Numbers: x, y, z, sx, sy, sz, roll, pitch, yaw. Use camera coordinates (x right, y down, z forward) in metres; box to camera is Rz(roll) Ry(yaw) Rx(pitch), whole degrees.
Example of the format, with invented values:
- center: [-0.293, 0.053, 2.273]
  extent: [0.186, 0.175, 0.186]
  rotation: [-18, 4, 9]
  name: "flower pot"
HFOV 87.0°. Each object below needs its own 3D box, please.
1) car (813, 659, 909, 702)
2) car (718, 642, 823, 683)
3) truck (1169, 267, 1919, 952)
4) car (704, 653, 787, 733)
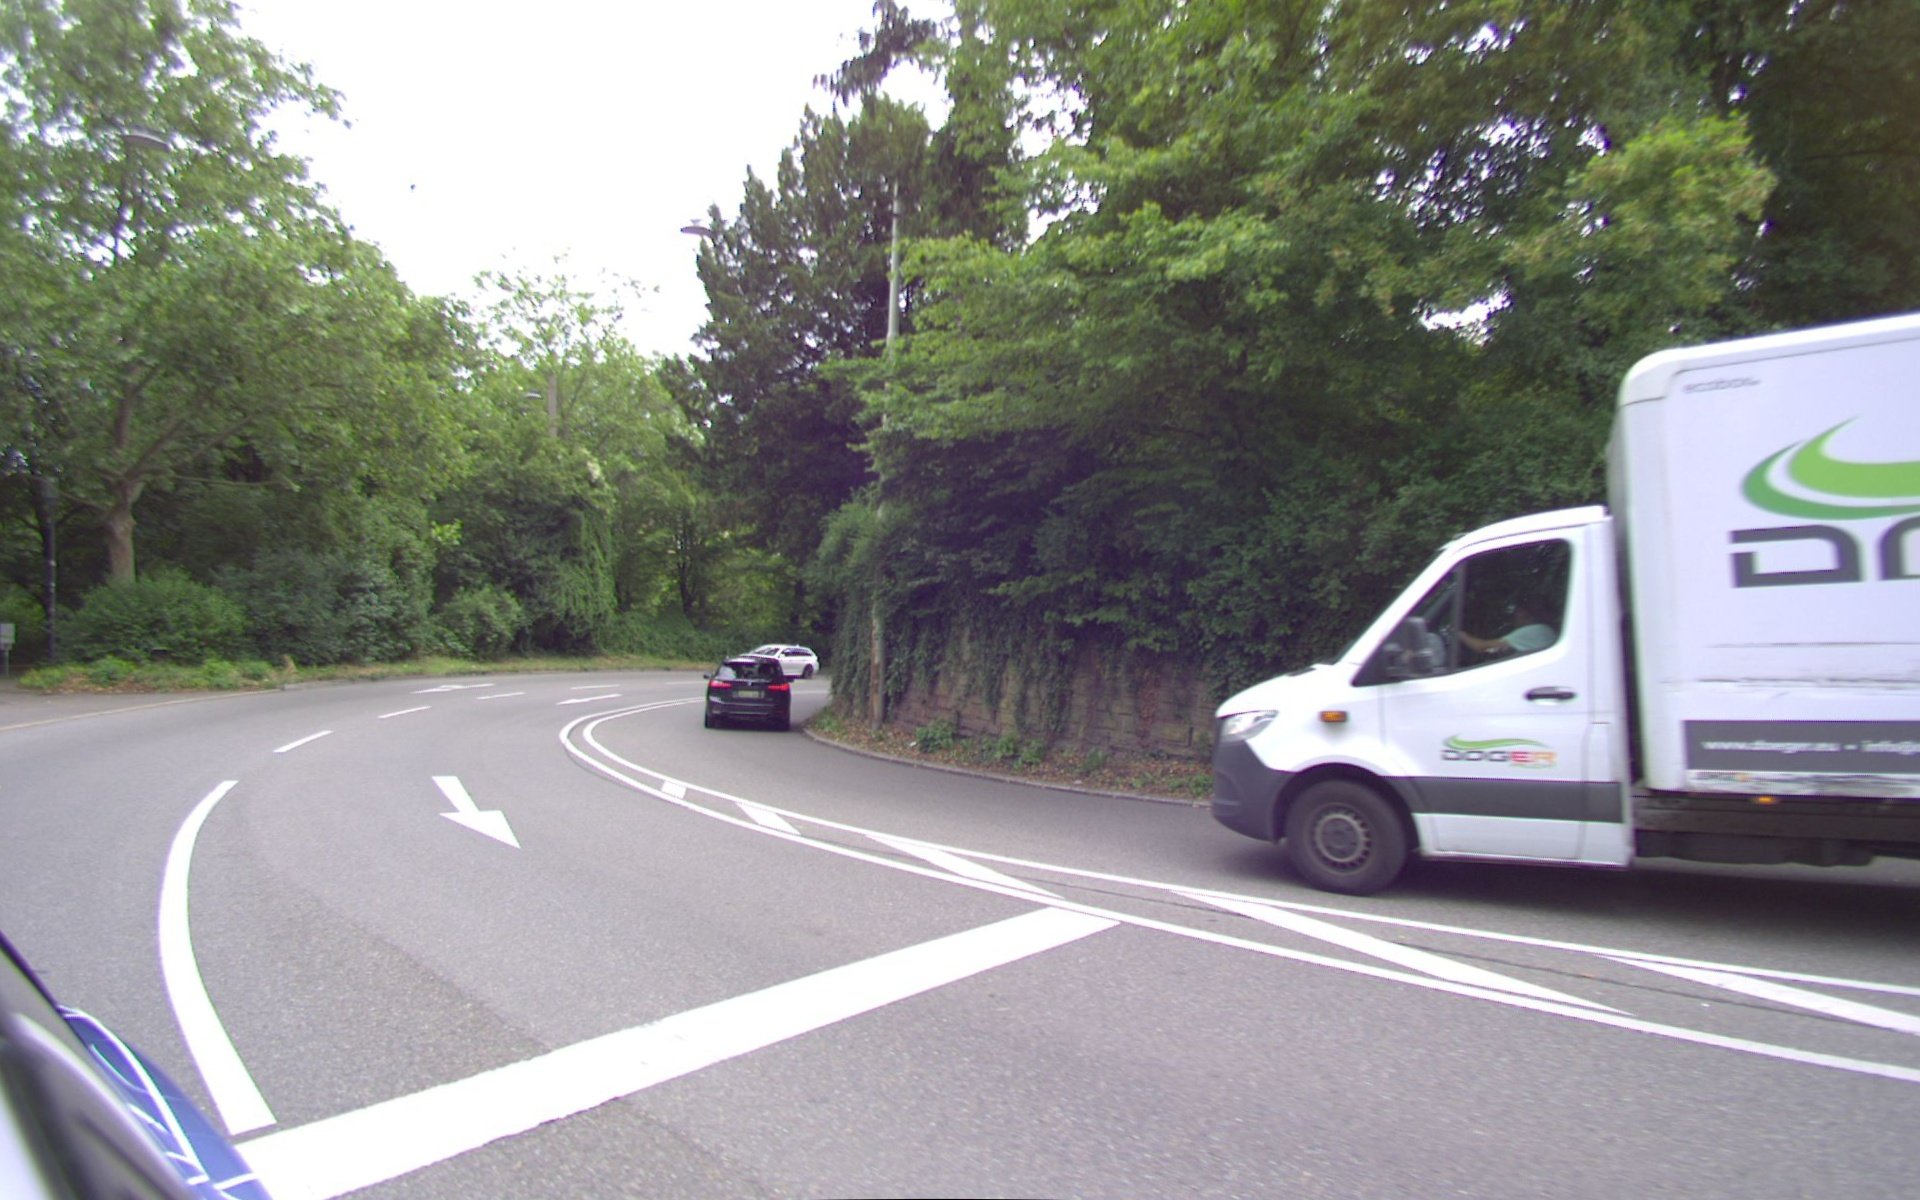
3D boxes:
- center: [-3.741, 3.100, 39.045]
  extent: [1.798, 1.454, 3.964]
  rotation: [3, -3, 26]
  name: "car"
- center: [-8.474, 2.861, 45.557]
  extent: [1.914, 1.563, 4.472]
  rotation: [4, -2, 35]
  name: "car"
- center: [4.661, 0.077, 5.809]
  extent: [6.319, 3.112, 2.385]
  rotation: [-2, -3, 30]
  name: "truck"
- center: [-4.759, 2.042, 22.536]
  extent: [1.582, 1.586, 4.072]
  rotation: [3, -5, -12]
  name: "car"
